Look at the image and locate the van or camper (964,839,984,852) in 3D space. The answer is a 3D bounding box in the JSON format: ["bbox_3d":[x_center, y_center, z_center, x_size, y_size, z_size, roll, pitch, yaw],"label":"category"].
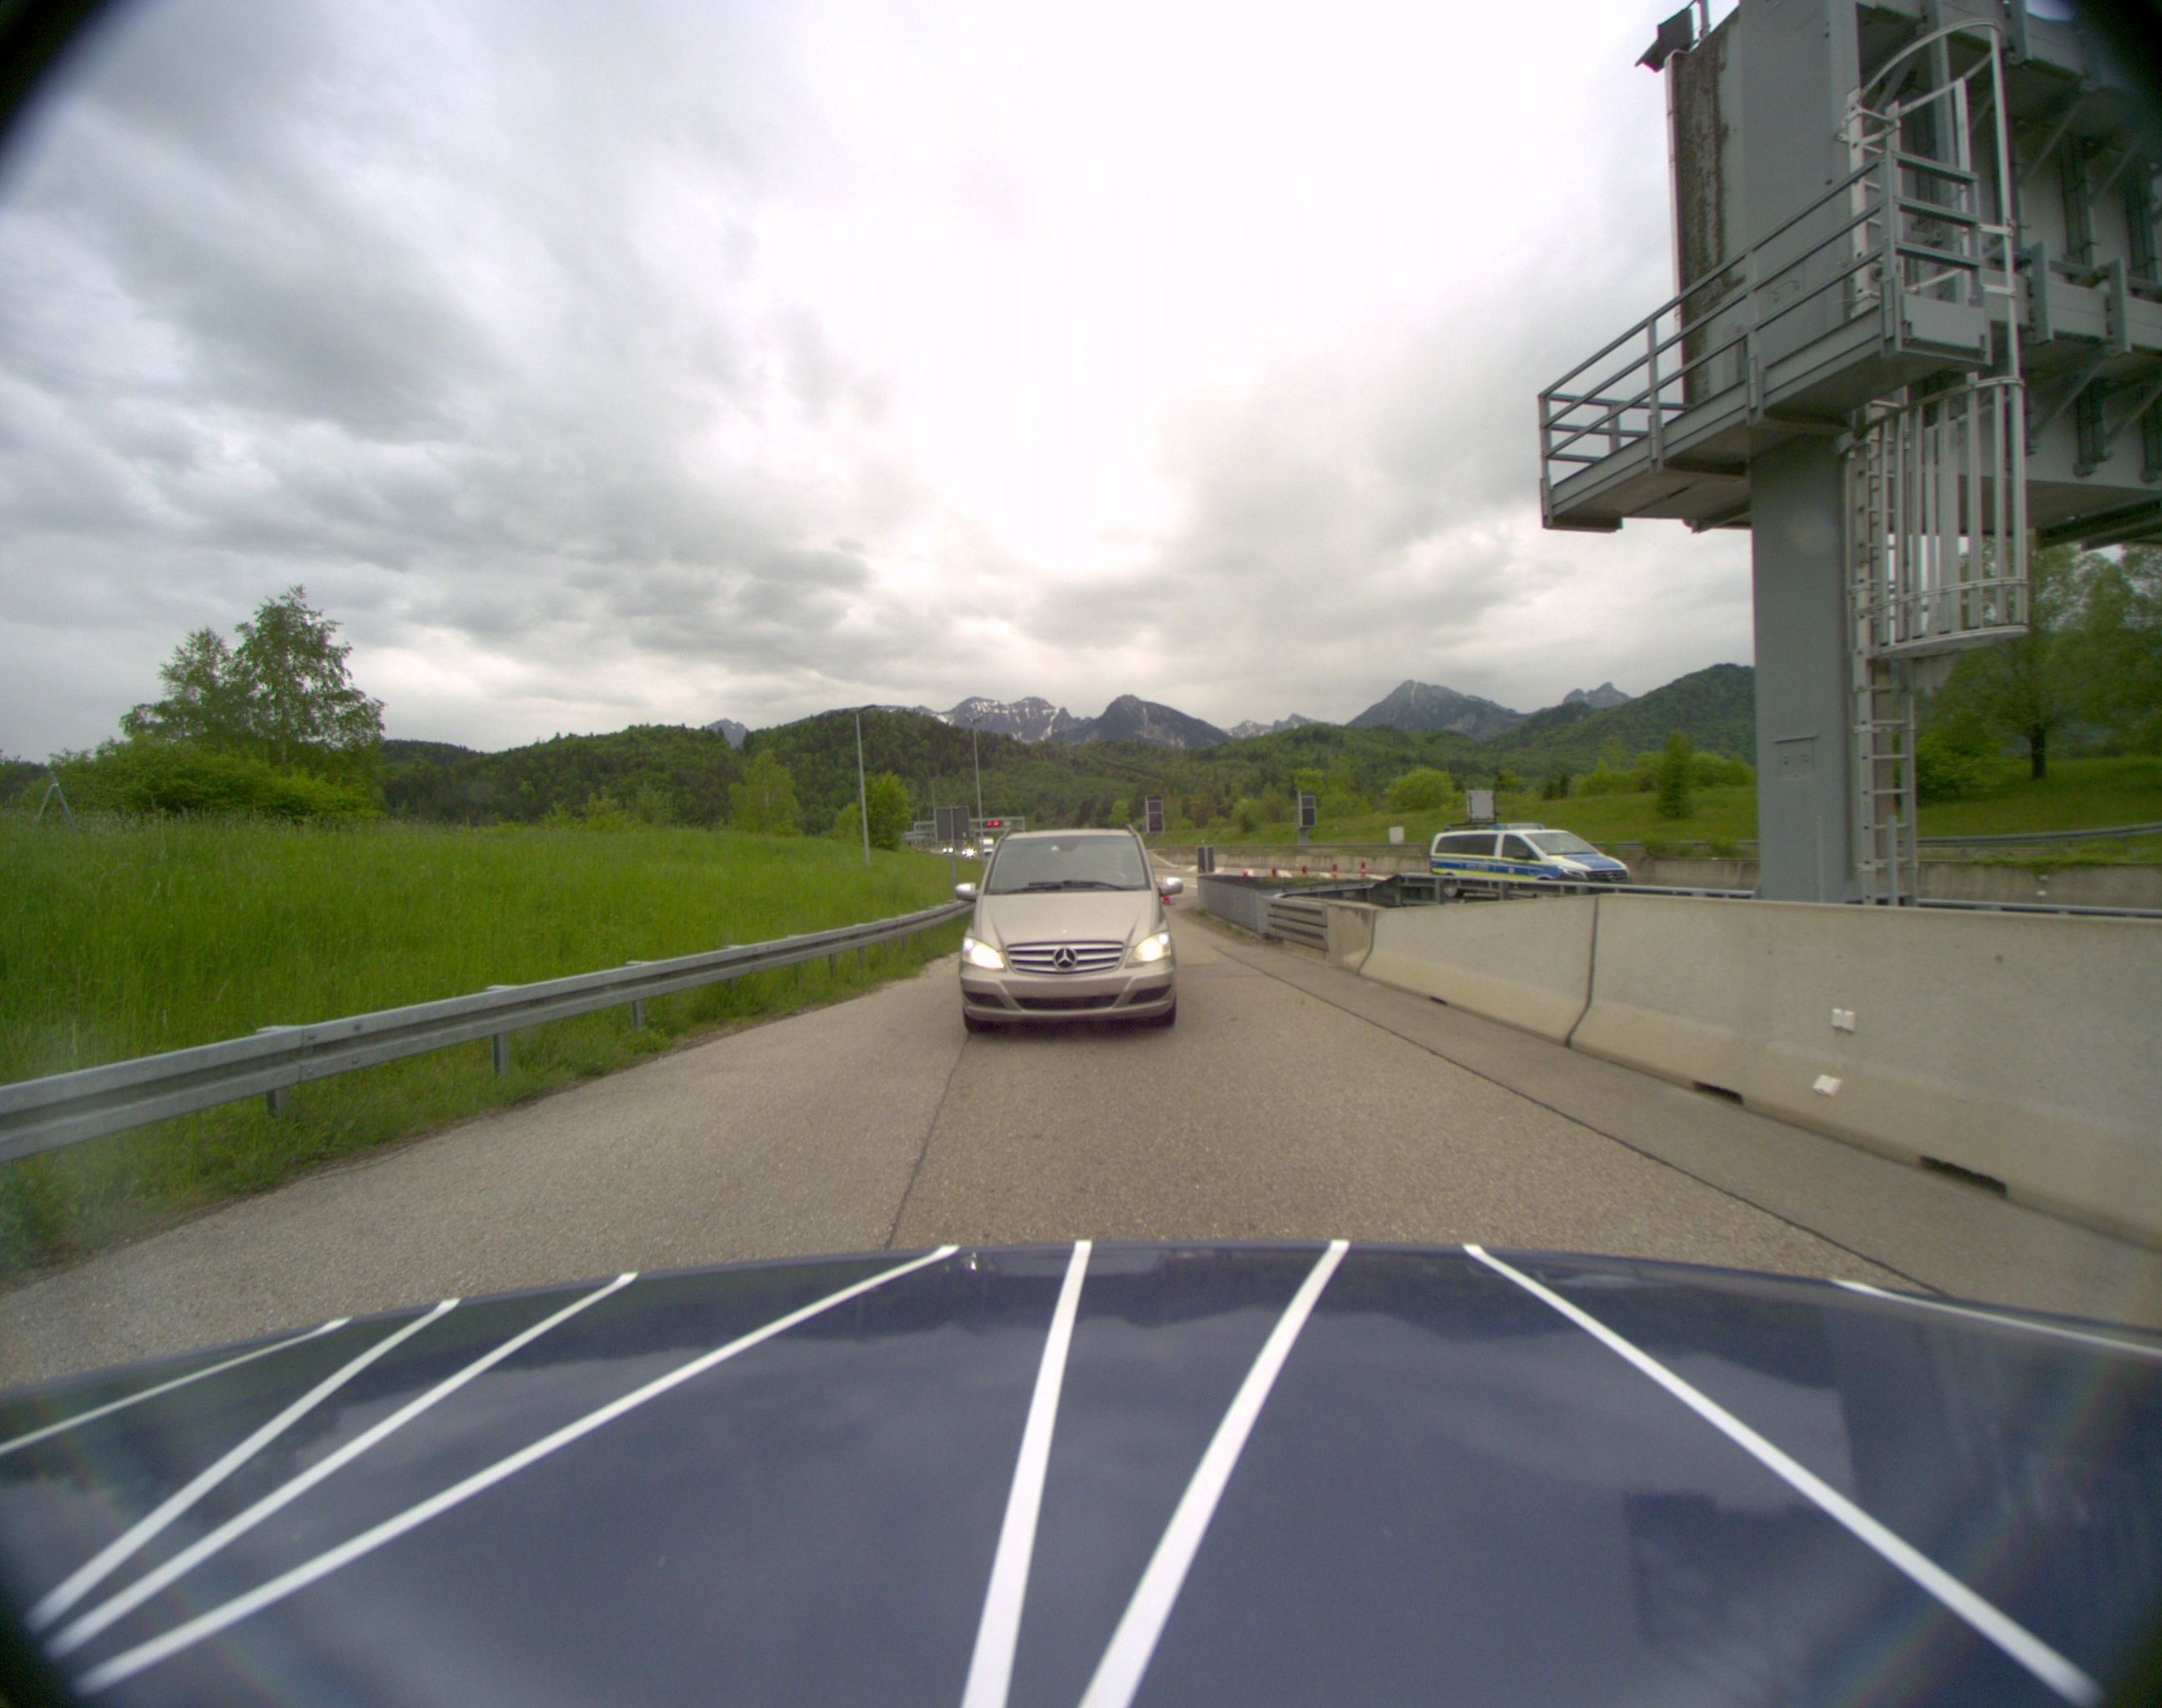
[{"bbox_3d":[-22.284,-1.752,158.424,3.345,2.629,8.190,-2,1,-13],"label":"van or camper"}]

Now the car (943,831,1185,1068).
[{"bbox_3d":[-0.098,0.717,8.769,1.862,1.833,5.616,-1,1,1],"label":"car"}]

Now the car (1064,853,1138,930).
[{"bbox_3d":[0.482,0.838,18.869,1.591,1.662,4.000,-1,0,1],"label":"car"}]

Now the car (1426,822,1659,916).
[{"bbox_3d":[11.330,0.295,19.203,2.106,2.002,5.045,-2,1,-13],"label":"car"}]

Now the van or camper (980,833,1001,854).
[{"bbox_3d":[-15.079,-1.720,126.247,2.585,3.372,7.346,-2,1,-12],"label":"van or camper"}]

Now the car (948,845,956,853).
[{"bbox_3d":[-34.904,-1.356,205.458,1.868,1.861,3.995,-1,1,-11],"label":"car"}]

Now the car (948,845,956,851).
[{"bbox_3d":[-35.202,-1.537,206.791,1.722,1.629,4.342,-2,1,-14],"label":"car"}]
